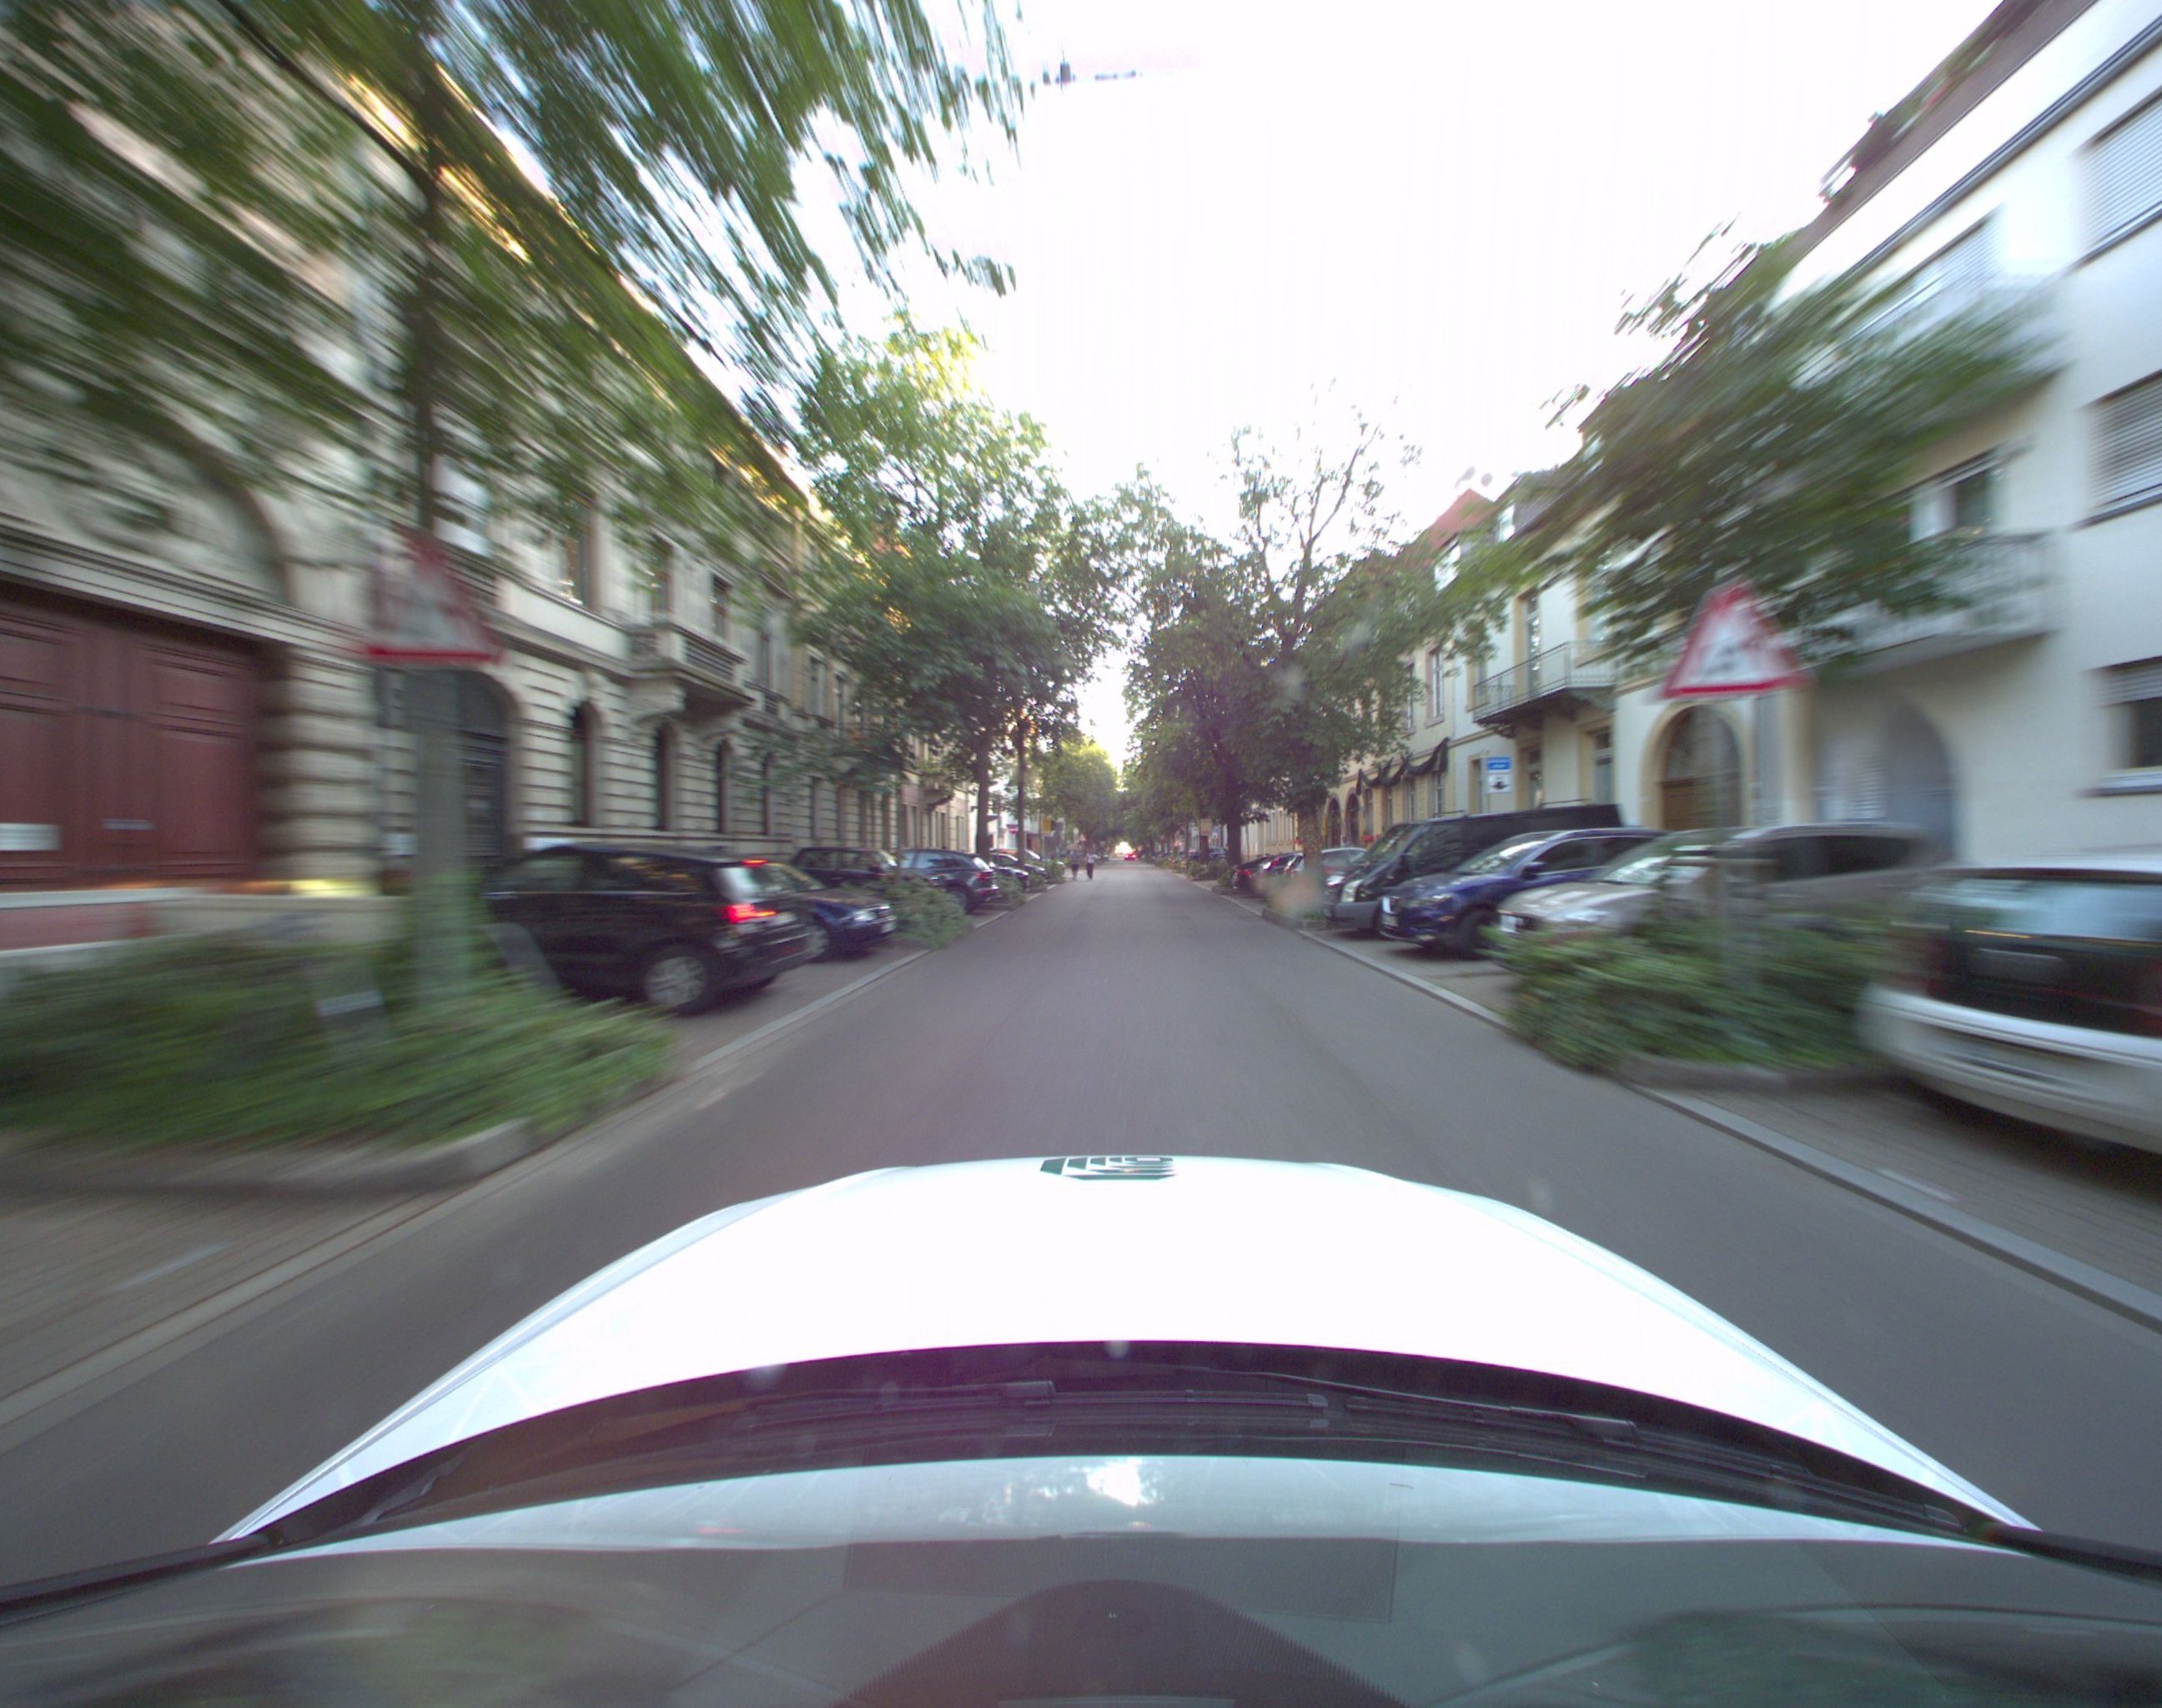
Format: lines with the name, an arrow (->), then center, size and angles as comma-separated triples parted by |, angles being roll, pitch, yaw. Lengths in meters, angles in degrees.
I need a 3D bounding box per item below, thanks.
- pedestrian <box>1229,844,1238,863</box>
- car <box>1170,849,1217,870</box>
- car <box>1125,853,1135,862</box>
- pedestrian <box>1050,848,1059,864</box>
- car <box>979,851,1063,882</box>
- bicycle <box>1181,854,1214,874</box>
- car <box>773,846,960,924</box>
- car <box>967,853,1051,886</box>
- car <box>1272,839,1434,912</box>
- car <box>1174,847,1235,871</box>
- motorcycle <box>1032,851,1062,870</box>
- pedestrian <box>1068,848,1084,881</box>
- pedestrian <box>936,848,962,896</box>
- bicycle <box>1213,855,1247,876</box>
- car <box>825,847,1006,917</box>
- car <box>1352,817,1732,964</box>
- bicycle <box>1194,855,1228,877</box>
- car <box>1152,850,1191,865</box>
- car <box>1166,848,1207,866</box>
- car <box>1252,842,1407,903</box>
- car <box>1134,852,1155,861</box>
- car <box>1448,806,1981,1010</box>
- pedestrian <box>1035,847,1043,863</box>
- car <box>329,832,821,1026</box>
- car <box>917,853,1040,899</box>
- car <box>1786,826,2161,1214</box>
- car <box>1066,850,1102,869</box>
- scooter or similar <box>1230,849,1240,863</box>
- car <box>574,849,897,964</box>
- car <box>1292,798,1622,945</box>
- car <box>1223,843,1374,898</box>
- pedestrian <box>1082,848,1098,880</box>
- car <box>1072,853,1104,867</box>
pedestrian -> 12.746, -0.066, 68.051 | 0.652, 1.536, 0.832 | -2, 0, 4
car -> 9.004, 0.433, 65.194 | 3.471, 1.452, 1.900 | -2, 0, 0
car -> 9.352, 0.708, 155.408 | 1.948, 1.565, 4.286 | -3, -1, 3
pedestrian -> -2.998, 0.181, 91.156 | 0.696, 1.757, 0.744 | -1, -1, 26
car -> -3.281, 0.665, 45.311 | 4.407, 1.651, 1.874 | 1, 1, 3
bicycle -> 7.199, 0.619, 50.407 | 1.836, 1.135, 0.743 | -2, 0, -8
car -> -4.822, 0.666, 18.691 | 3.786, 1.672, 1.715 | 1, 1, 1
car -> -3.312, 0.691, 37.889 | 3.678, 1.458, 1.874 | 1, 1, 2
car -> 7.090, 0.545, 21.515 | 3.665, 1.578, 1.716 | -4, 0, 3
car -> 9.353, 0.380, 62.041 | 4.406, 1.656, 1.902 | -2, 0, 4
motorcycle -> -2.704, 0.532, 64.441 | 2.213, 1.481, 0.855 | -1, 1, -16
pedestrian -> -0.269, 0.559, 44.639 | 0.791, 1.737, 0.832 | -2, 0, 2
pedestrian -> -4.840, 0.667, 29.880 | 0.730, 1.739, 0.673 | 0, 0, 9
bicycle -> 8.724, 0.686, 47.719 | 1.790, 1.128, 0.663 | -2, 0, -3
car -> -4.172, 0.671, 21.025 | 4.184, 1.672, 1.909 | 1, 1, 3
car -> 6.246, 0.472, 11.455 | 4.141, 1.578, 1.970 | -4, 0, 1
bicycle -> 7.478, 0.708, 46.858 | 1.823, 1.178, 0.673 | -2, 0, 1
car -> 11.181, 0.436, 100.535 | 4.696, 1.710, 1.952 | -1, 0, 4
car -> 9.508, 0.288, 73.729 | 3.471, 1.452, 1.900 | -2, 0, 0
car -> 7.263, 0.521, 24.111 | 3.973, 1.437, 1.927 | -4, 0, 1
car -> 13.423, 0.545, 171.982 | 4.251, 1.565, 1.964 | -3, -1, 2
car -> 6.218, 0.500, 8.398 | 3.950, 1.578, 1.852 | -4, 0, 1
pedestrian -> -4.420, 0.118, 85.889 | 0.700, 1.728, 0.906 | -1, -1, 3
car -> -5.042, 0.696, 8.510 | 3.949, 1.596, 1.782 | 3, 0, 3
car -> -3.468, 0.729, 28.028 | 3.930, 1.532, 1.908 | 0, 0, 2
car -> 6.119, 0.566, 3.974 | 3.779, 1.423, 1.698 | -4, 0, 1
car -> 0.424, 0.707, 109.453 | 4.663, 2.478, 2.001 | -1, -1, 2
scooter or similar -> 12.707, 0.147, 67.329 | 0.652, 1.153, 0.832 | -2, 0, 4
car -> -4.944, 0.707, 12.020 | 3.948, 1.387, 1.767 | 2, 1, 3
car -> 6.293, 0.288, 14.101 | 4.671, 2.011, 2.038 | -4, 0, 2
car -> 7.043, 0.524, 26.651 | 4.385, 1.394, 1.886 | -4, 0, 0
pedestrian -> 0.505, 0.547, 44.490 | 0.791, 1.670, 0.832 | -2, 0, 2
car -> 1.018, 0.896, 121.886 | 4.663, 1.854, 1.964 | -3, -1, 2
